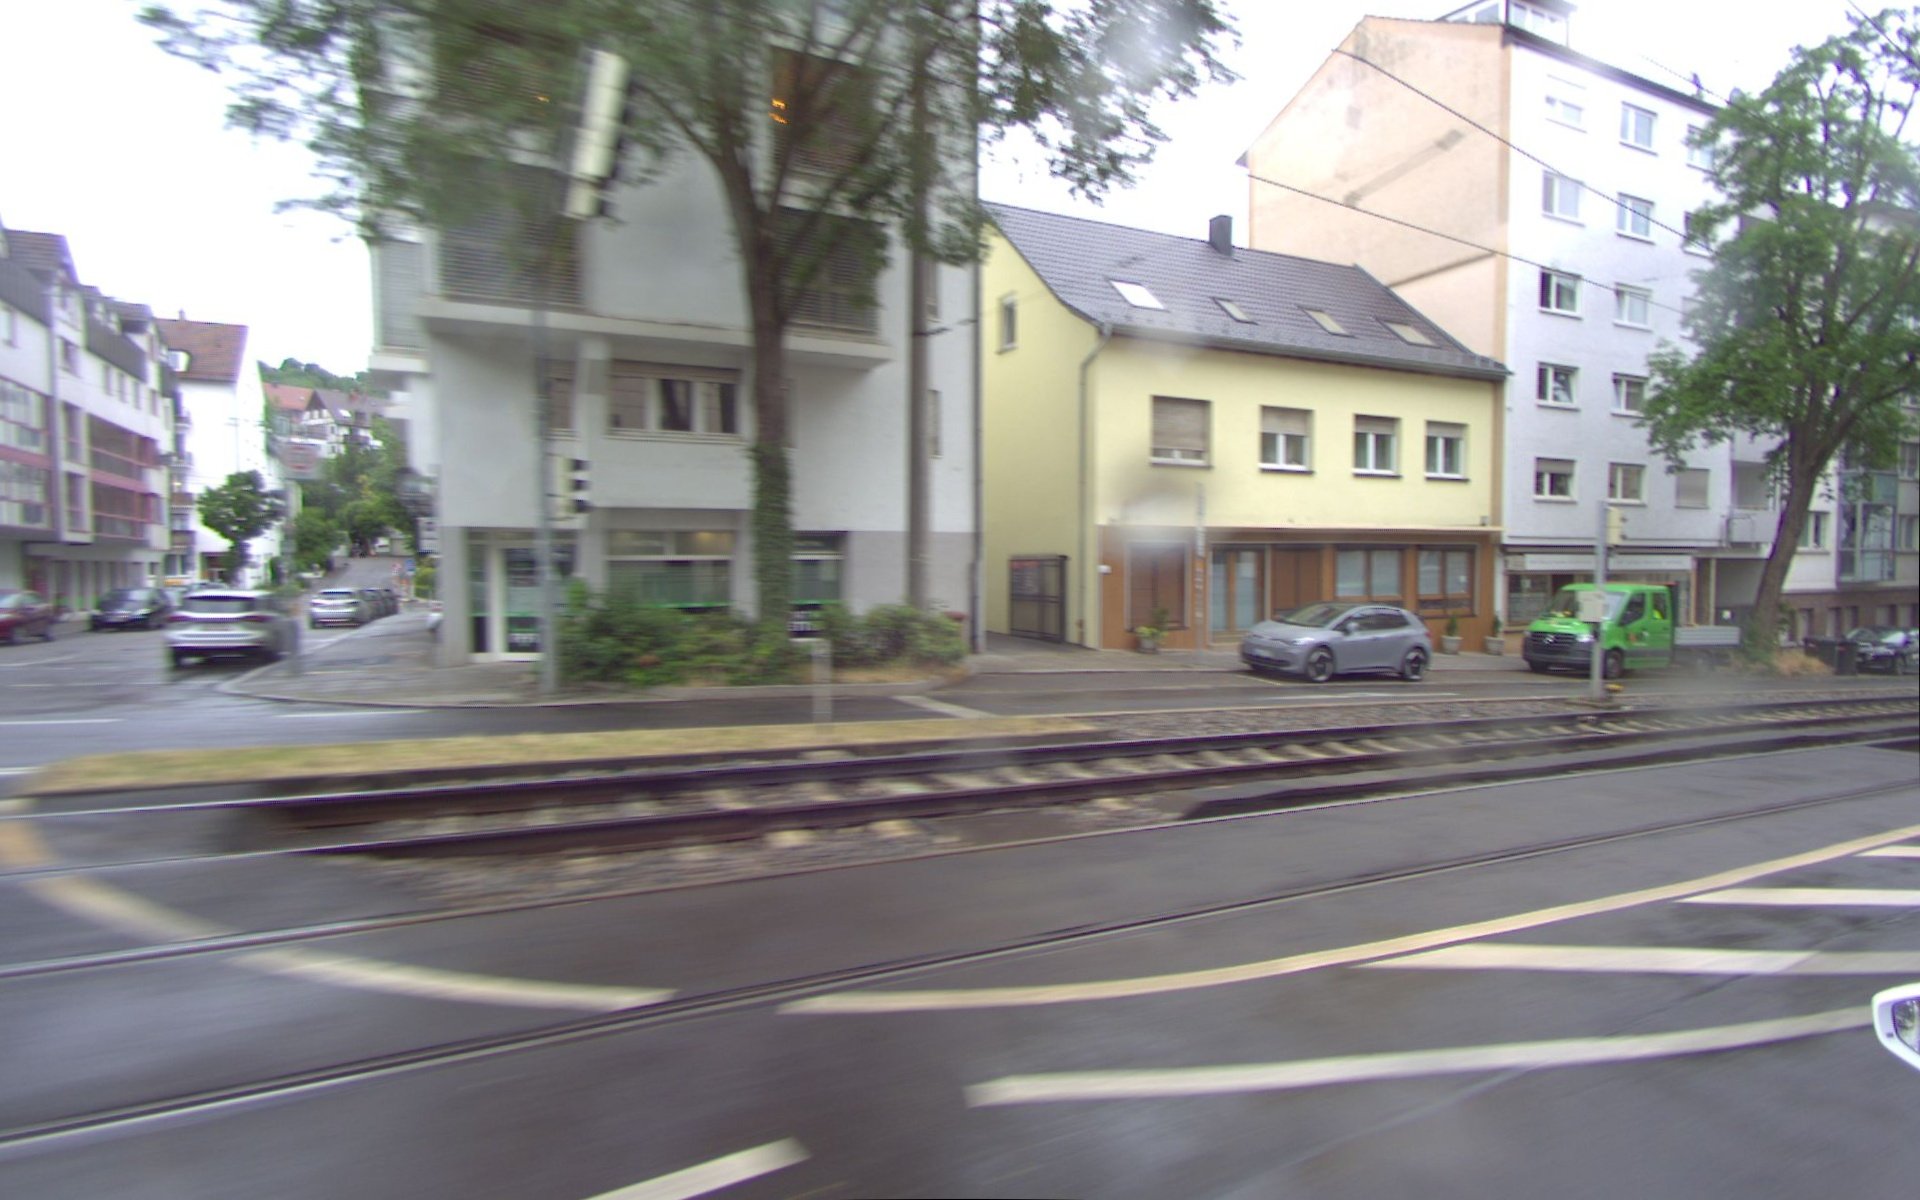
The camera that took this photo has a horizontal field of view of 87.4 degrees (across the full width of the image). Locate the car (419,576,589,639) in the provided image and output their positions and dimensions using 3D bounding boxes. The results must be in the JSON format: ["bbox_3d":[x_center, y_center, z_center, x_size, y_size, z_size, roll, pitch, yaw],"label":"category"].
[{"bbox_3d":[-12.246,0.214,27.049,3.957,1.555,1.690,2,-1,-33],"label":"car"}]

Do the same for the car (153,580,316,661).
[{"bbox_3d":[-15.044,0.399,21.125,1.974,1.492,4.698,2,-1,-26],"label":"car"}]

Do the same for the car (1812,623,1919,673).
[{"bbox_3d":[28.929,1.528,31.670,4.203,1.472,1.766,3,-2,-28],"label":"car"}]

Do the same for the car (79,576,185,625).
[{"bbox_3d":[-30.831,0.018,37.542,1.974,1.643,4.698,2,-1,-26],"label":"car"}]

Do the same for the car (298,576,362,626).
[{"bbox_3d":[-27.326,0.048,43.672,1.846,2.040,4.423,2,-1,-26],"label":"car"}]

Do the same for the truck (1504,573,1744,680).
[{"bbox_3d":[16.769,0.691,25.301,6.235,2.425,2.045,2,0,-25],"label":"truck"}]

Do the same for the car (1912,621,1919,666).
[{"bbox_3d":[35.250,1.554,35.029,4.202,1.567,1.766,2,-1,-28],"label":"car"}]

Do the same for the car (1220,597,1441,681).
[{"bbox_3d":[7.738,0.796,20.927,4.437,1.536,1.719,1,2,-27],"label":"car"}]

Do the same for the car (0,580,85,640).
[{"bbox_3d":[-26.007,0.227,27.438,1.974,1.521,4.698,2,-1,-26],"label":"car"}]

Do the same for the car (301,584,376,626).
[{"bbox_3d":[-23.796,0.194,38.618,1.974,1.472,4.698,2,-1,-26],"label":"car"}]

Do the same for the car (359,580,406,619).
[{"bbox_3d":[-32.468,-0.019,56.578,1.957,2.040,4.423,2,-1,-26],"label":"car"}]
